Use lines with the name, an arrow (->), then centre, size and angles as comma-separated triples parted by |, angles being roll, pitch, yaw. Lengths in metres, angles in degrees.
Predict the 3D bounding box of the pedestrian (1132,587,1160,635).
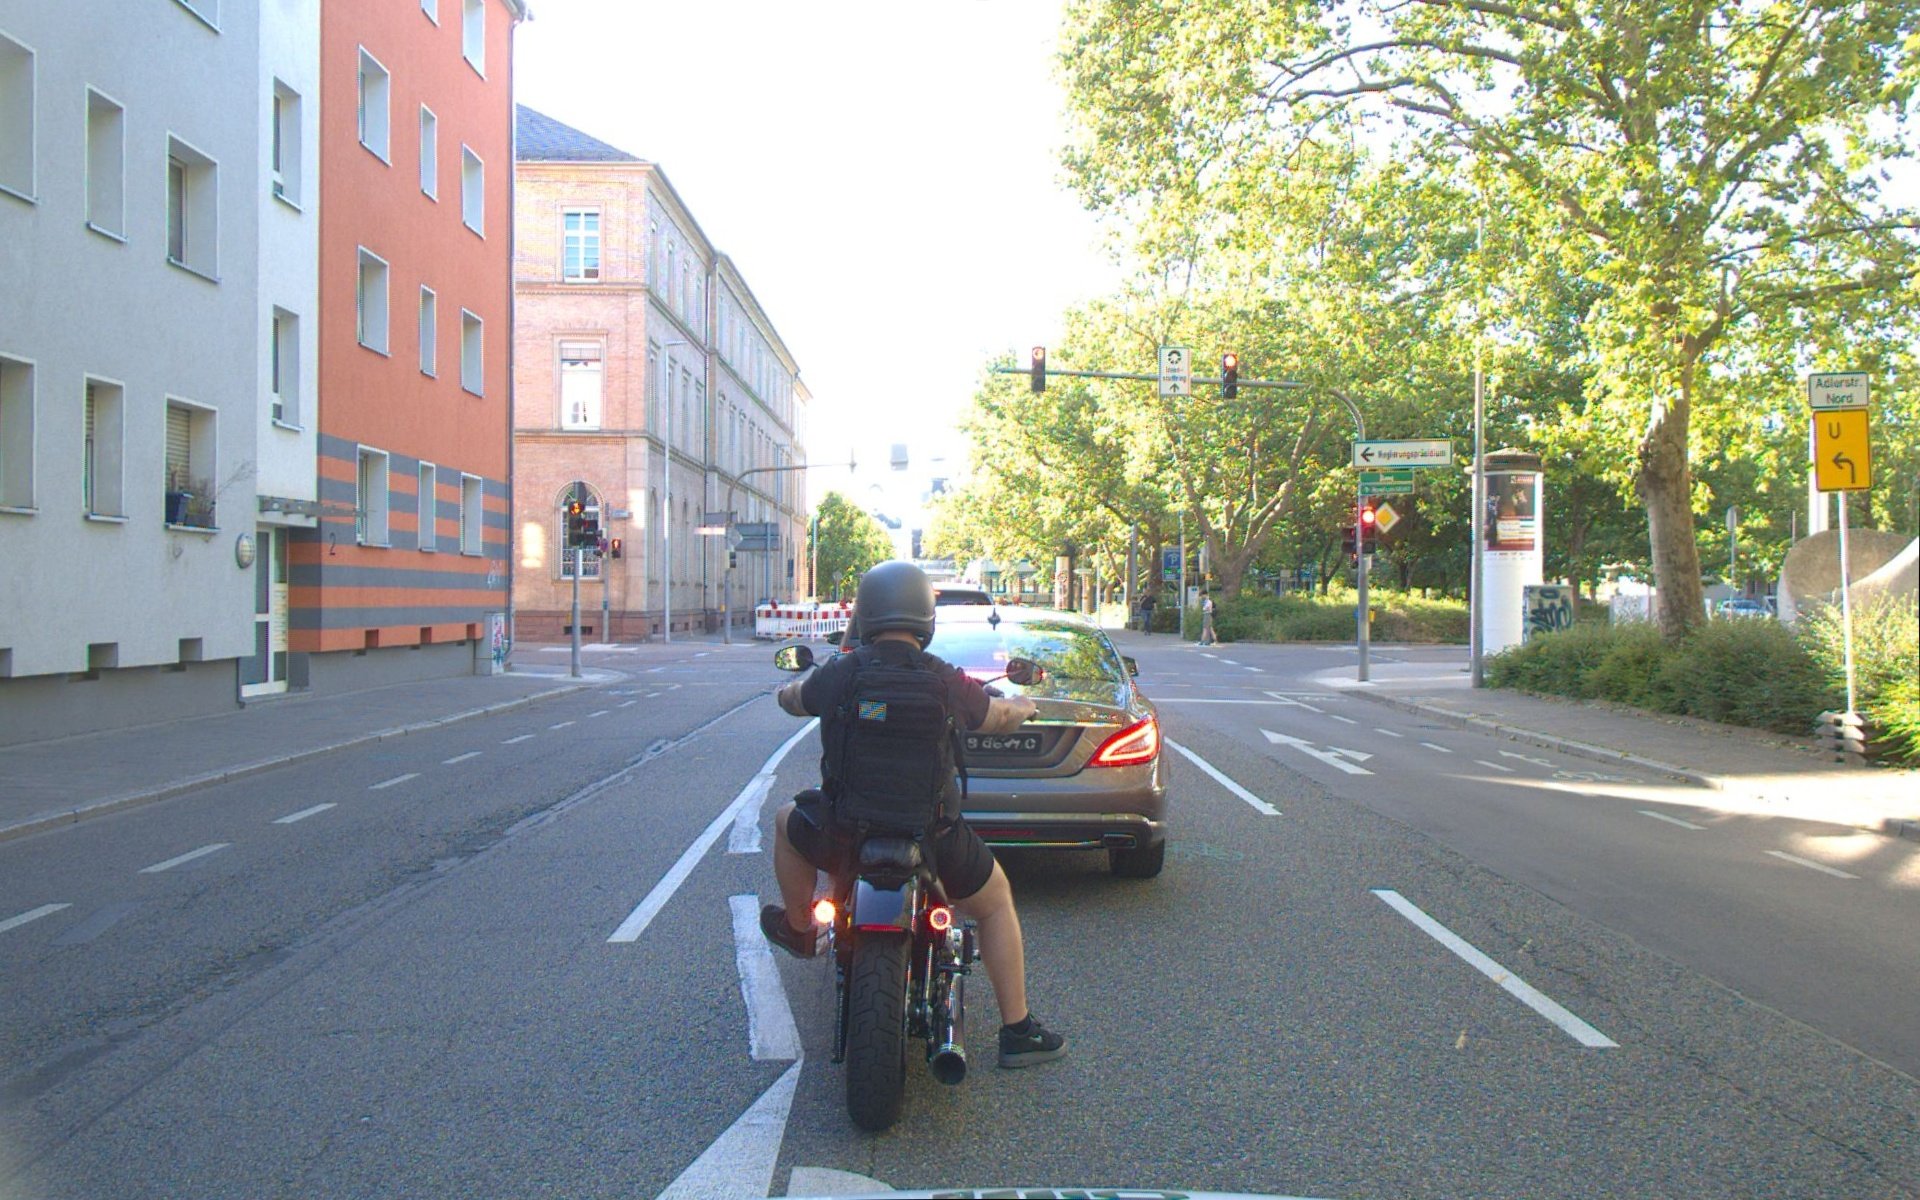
pedestrian -> 7.628, 0.461, 67.714 | 0.741, 1.943, 0.917 | 1, -1, -29

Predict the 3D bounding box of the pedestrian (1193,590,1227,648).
pedestrian -> 8.114, 0.612, 53.723 | 0.980, 1.858, 1.077 | 1, 0, 5

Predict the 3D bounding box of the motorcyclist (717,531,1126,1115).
motorcyclist -> -0.115, 0.632, 5.301 | 1.125, 1.626, 1.288 | 1, 0, -1

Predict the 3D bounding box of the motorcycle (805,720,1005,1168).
motorcycle -> -0.157, 0.970, 5.317 | 0.503, 1.020, 2.013 | 1, 0, -1

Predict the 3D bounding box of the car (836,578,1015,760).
car -> -0.332, 0.605, 16.720 | 1.588, 1.622, 3.999 | 0, 0, -1

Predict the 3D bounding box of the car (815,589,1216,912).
car -> 0.234, 0.694, 9.612 | 1.844, 1.475, 3.819 | 1, 0, -1

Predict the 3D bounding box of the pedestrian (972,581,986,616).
pedestrian -> 1.159, -0.094, 100.910 | 0.748, 2.087, 0.712 | 1, -1, -1
